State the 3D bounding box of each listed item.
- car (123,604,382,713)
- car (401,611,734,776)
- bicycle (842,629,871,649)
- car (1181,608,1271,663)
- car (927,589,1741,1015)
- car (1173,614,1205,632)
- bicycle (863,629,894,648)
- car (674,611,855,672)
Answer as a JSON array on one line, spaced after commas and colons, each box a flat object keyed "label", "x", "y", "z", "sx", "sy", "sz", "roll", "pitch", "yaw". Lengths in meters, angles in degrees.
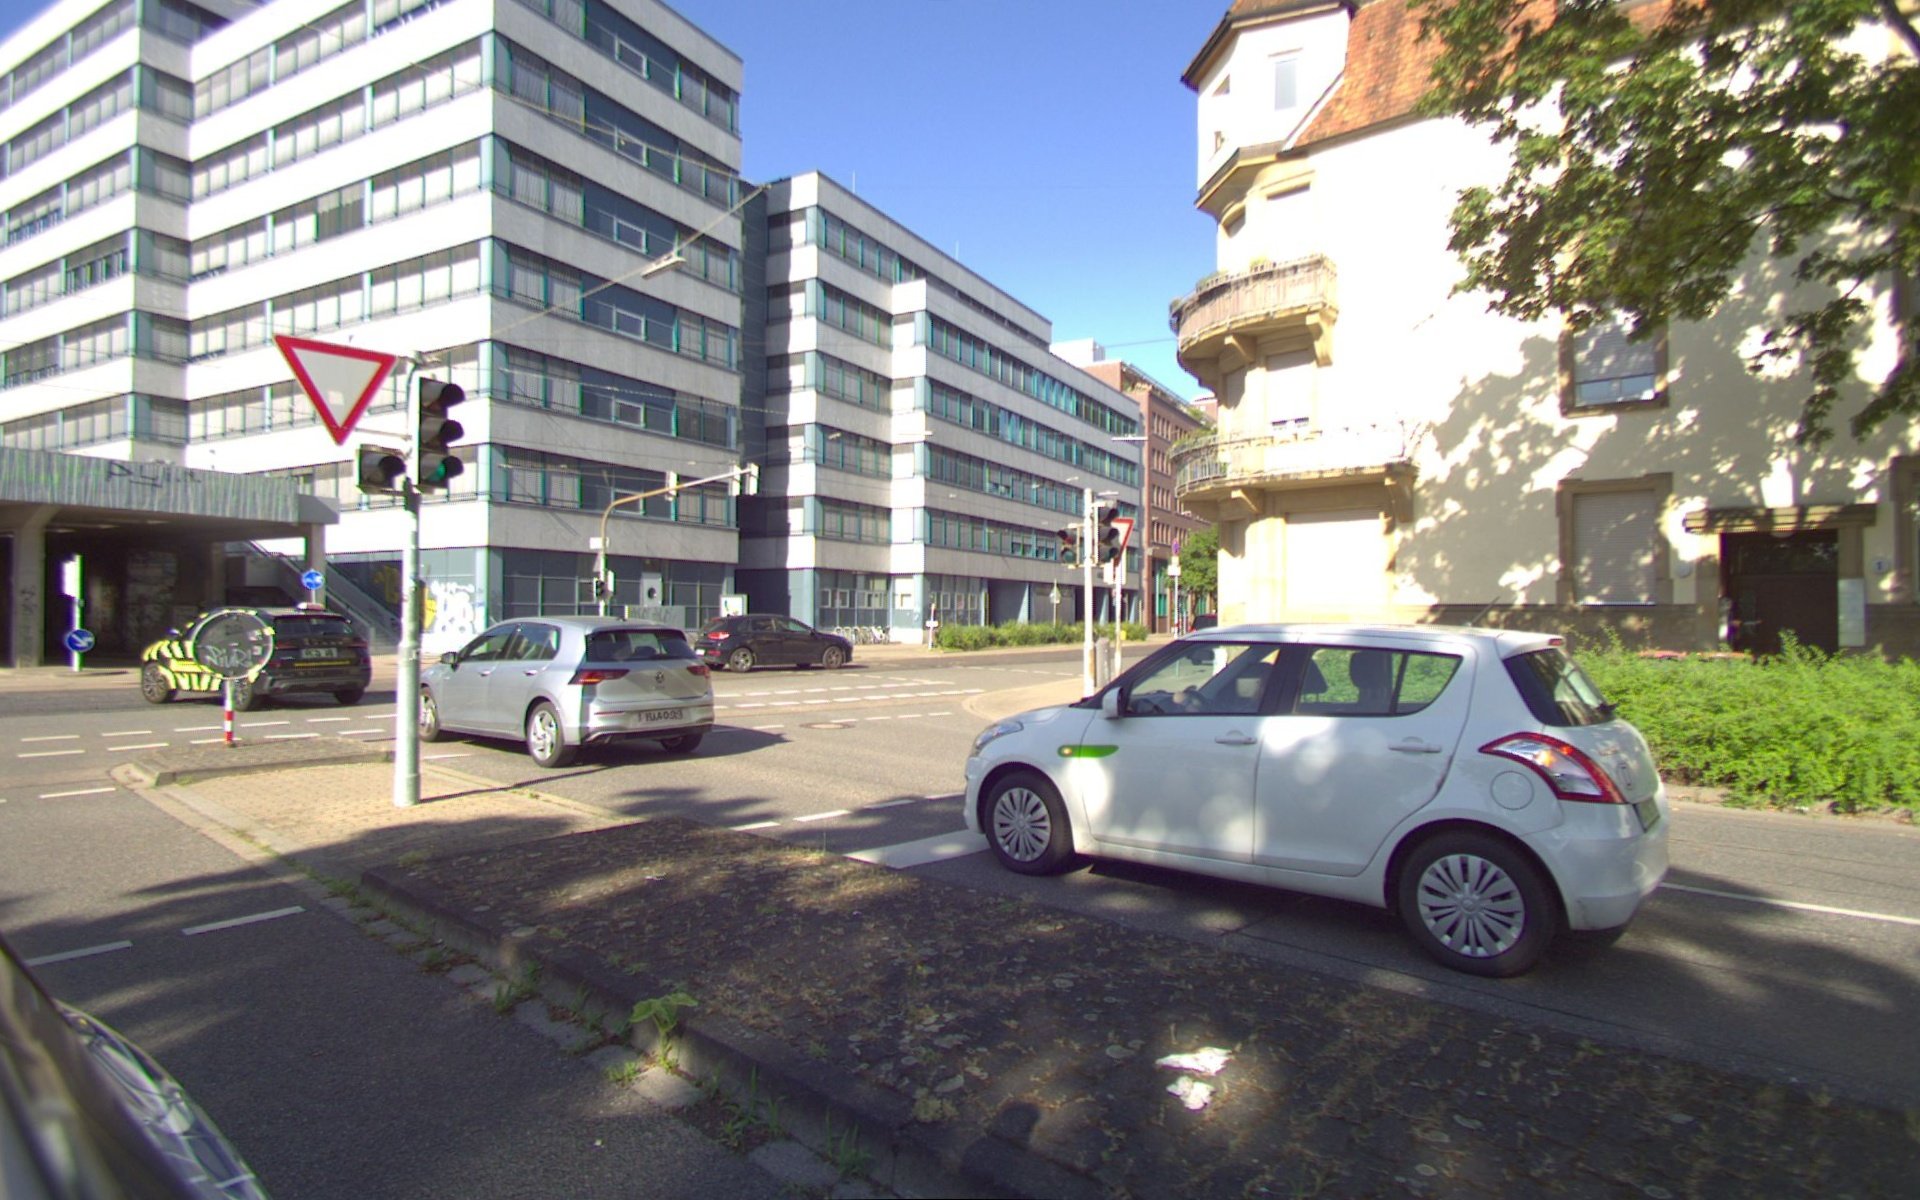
[{"label": "car", "x": -11.171, "y": 0.847, "z": 15.936, "sx": 4.099, "sy": 1.525, "sz": 1.776, "roll": -1, "pitch": -1, "yaw": 30}, {"label": "car", "x": -4.352, "y": 0.864, "z": 10.989, "sx": 3.847, "sy": 1.463, "sz": 1.691, "roll": 0, "pitch": -1, "yaw": 39}, {"label": "bicycle", "x": -5.586, "y": 2.097, "z": 54.509, "sx": 1.663, "sy": 0.988, "sz": 0.481, "roll": 0, "pitch": 0, "yaw": 39}, {"label": "car", "x": 9.060, "y": 1.154, "z": 34.228, "sx": 1.955, "sy": 1.737, "sz": 4.130, "roll": 0, "pitch": -1, "yaw": 30}, {"label": "car", "x": 1.799, "y": 0.786, "z": 5.584, "sx": 3.862, "sy": 1.524, "sz": 1.686, "roll": -1, "pitch": -3, "yaw": 42}, {"label": "car", "x": 21.120, "y": 2.119, "z": 93.290, "sx": 1.774, "sy": 1.614, "sz": 3.959, "roll": -1, "pitch": -1, "yaw": 30}, {"label": "bicycle", "x": -4.485, "y": 2.087, "z": 55.459, "sx": 1.897, "sy": 0.988, "sz": 0.481, "roll": 0, "pitch": 0, "yaw": 39}, {"label": "car", "x": -5.051, "y": 1.049, "z": 26.332, "sx": 4.254, "sy": 1.462, "sz": 1.811, "roll": 1, "pitch": -2, "yaw": -34}]
